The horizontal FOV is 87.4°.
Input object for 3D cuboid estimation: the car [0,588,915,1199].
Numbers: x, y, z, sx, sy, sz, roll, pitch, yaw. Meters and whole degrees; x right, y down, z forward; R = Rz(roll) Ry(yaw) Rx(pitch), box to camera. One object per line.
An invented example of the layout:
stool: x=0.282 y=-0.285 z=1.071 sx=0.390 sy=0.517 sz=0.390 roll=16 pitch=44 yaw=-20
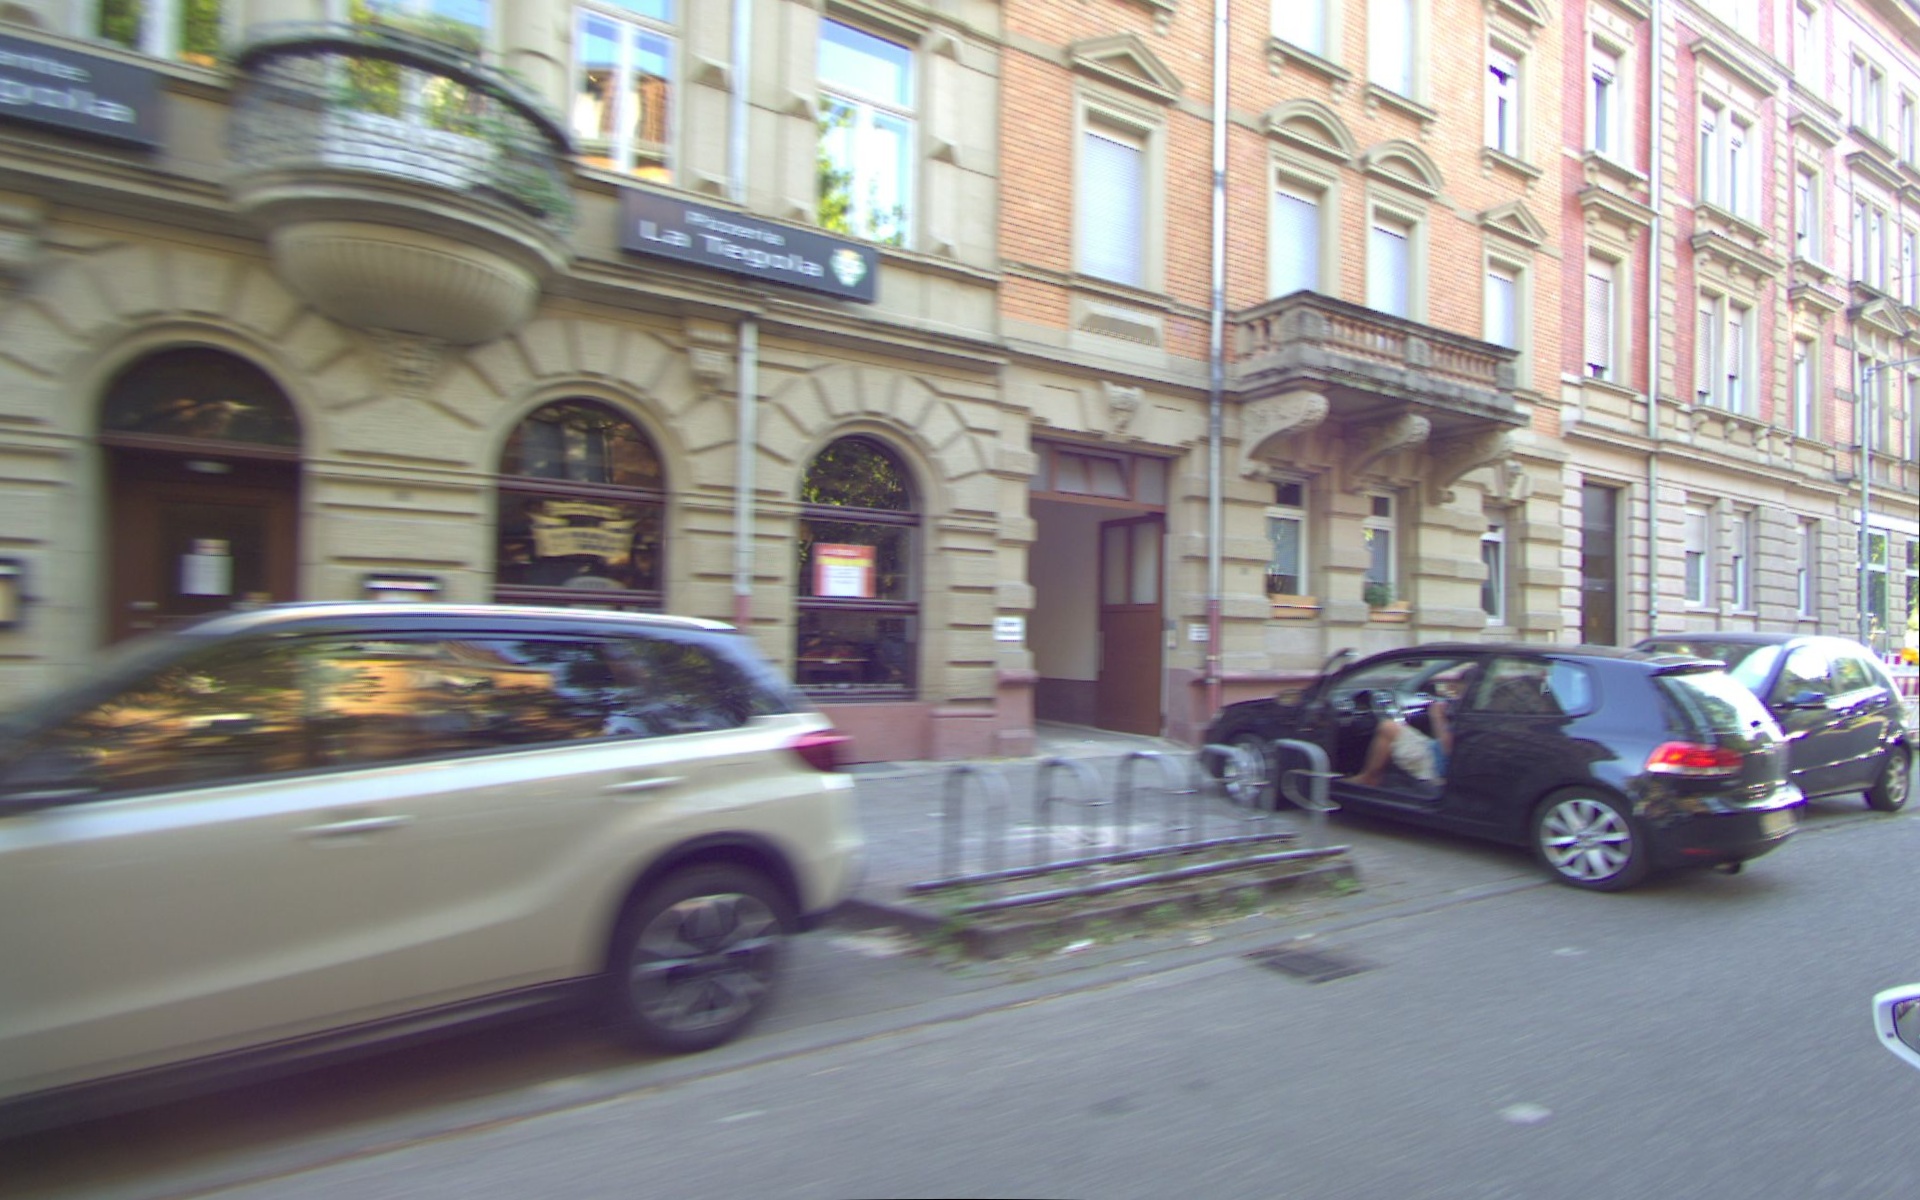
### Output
car: x=-2.297 y=0.796 z=3.542 sx=4.009 sy=1.595 sz=1.636 roll=1 pitch=1 yaw=-35

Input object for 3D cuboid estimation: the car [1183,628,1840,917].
car: x=3.789 y=1.008 z=7.553 sx=1.808 sy=1.549 sz=3.960 roll=2 pitch=-3 yaw=-36

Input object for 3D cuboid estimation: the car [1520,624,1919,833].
car: x=7.193 y=1.046 z=9.383 sx=3.849 sy=1.588 sz=1.733 roll=1 pitch=-2 yaw=-30

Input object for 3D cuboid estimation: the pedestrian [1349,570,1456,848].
pedestrian: x=3.195 y=0.759 z=7.301 sx=0.627 sy=1.912 sz=0.592 roll=0 pitch=-2 yaw=16
